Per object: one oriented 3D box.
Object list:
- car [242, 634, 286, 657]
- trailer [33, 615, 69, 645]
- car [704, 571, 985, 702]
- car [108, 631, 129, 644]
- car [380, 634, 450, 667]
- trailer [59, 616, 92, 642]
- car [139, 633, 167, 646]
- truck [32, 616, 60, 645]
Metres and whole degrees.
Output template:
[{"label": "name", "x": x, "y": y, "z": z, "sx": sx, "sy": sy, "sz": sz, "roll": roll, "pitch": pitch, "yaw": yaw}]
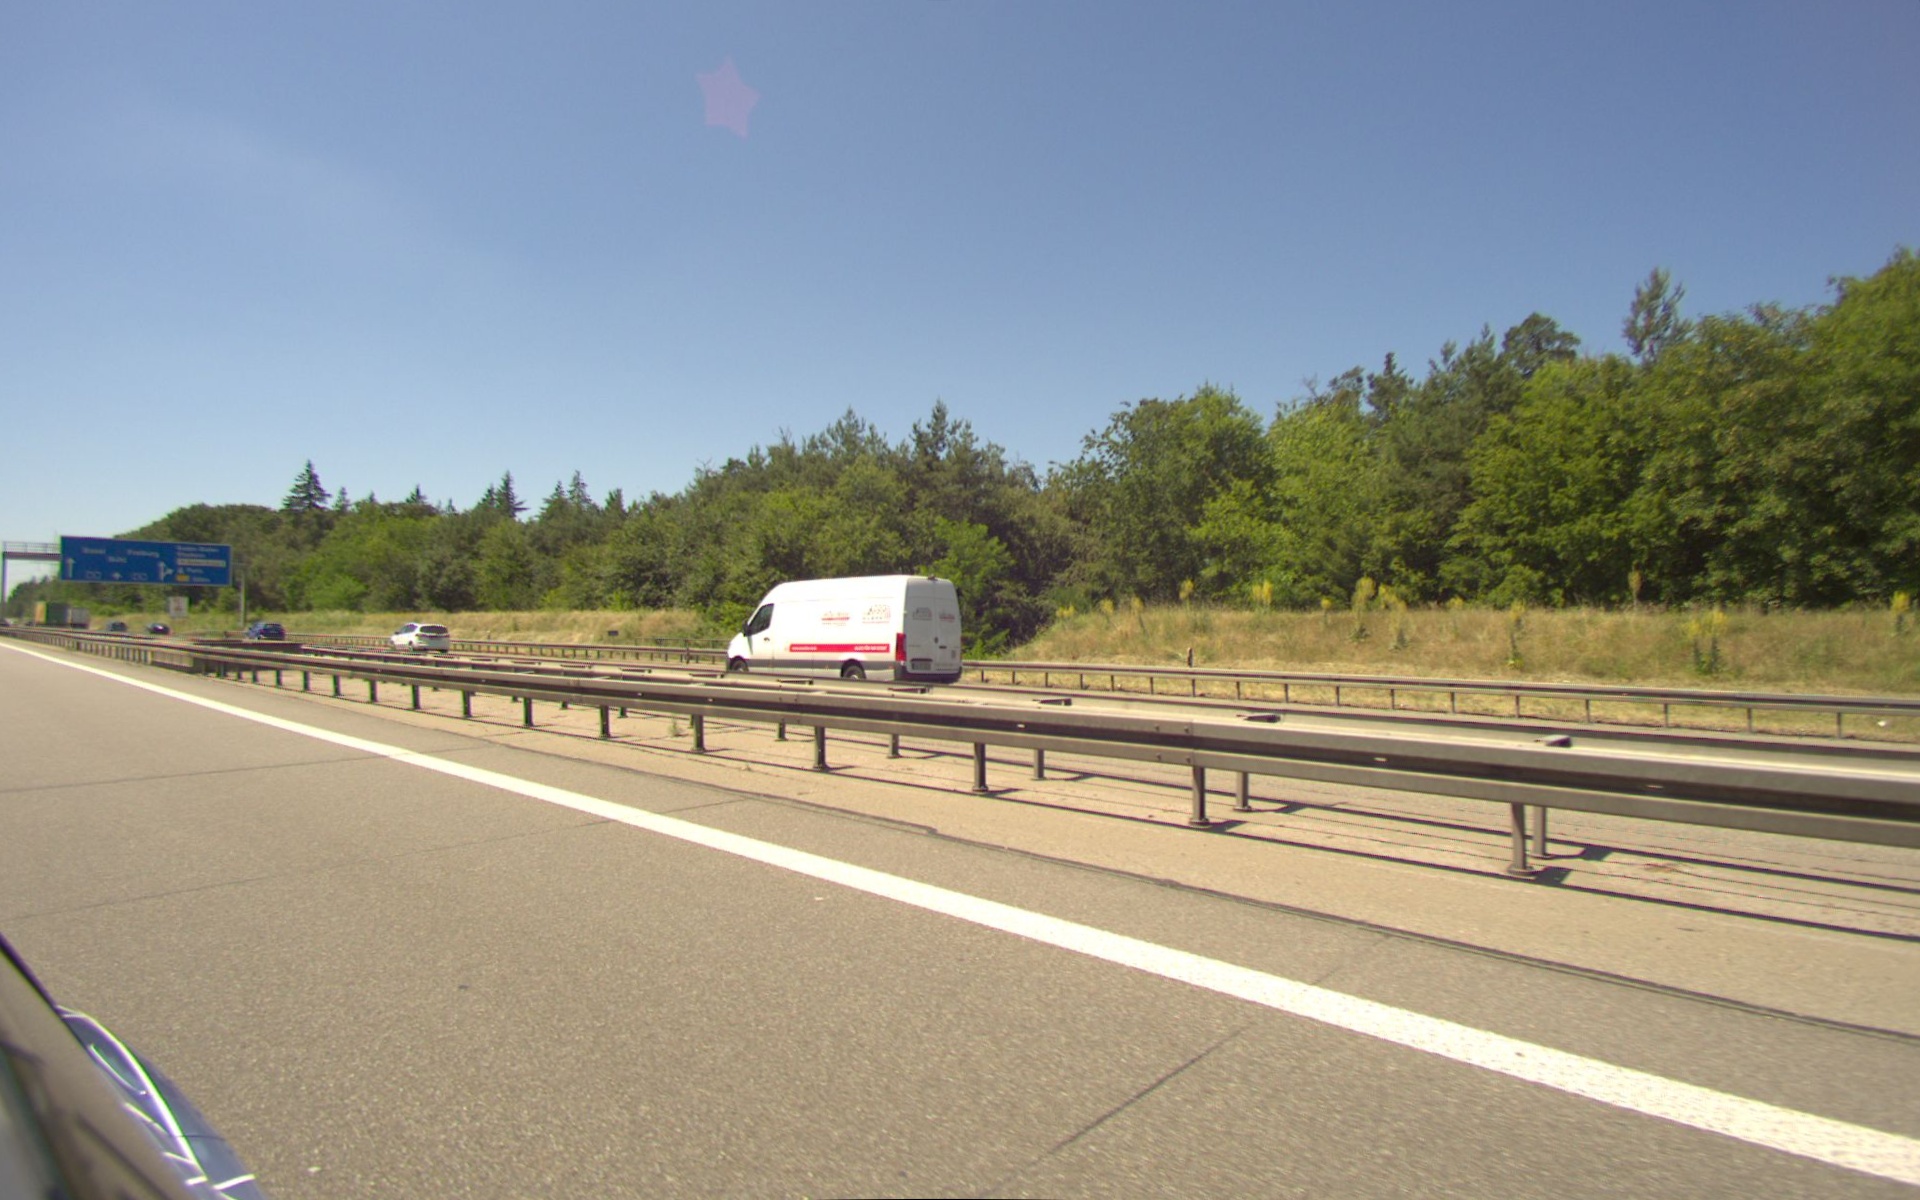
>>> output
[{"label": "car", "x": -52.001, "y": 3.387, "z": 75.566, "sx": 4.535, "sy": 1.557, "sz": 1.683, "roll": -2, "pitch": -5, "yaw": 43}, {"label": "trailer", "x": -131.383, "y": 4.377, "z": 146.253, "sx": 14.280, "sy": 4.104, "sz": 2.436, "roll": -2, "pitch": -5, "yaw": 43}, {"label": "car", "x": -2.951, "y": 0.895, "z": 23.802, "sx": 7.544, "sy": 2.645, "sz": 2.141, "roll": -2, "pitch": -5, "yaw": 43}, {"label": "car", "x": -108.046, "y": 4.785, "z": 129.885, "sx": 4.111, "sy": 1.552, "sz": 1.507, "roll": -2, "pitch": -5, "yaw": 43}, {"label": "car", "x": -29.225, "y": 2.701, "z": 54.224, "sx": 5.117, "sy": 1.674, "sz": 1.683, "roll": -2, "pitch": -5, "yaw": 43}, {"label": "trailer", "x": -142.321, "y": 4.724, "z": 162.777, "sx": 11.158, "sy": 3.979, "sz": 2.596, "roll": -2, "pitch": -5, "yaw": 43}, {"label": "car", "x": -88.017, "y": 4.299, "z": 110.414, "sx": 4.890, "sy": 1.376, "sz": 1.657, "roll": -2, "pitch": -5, "yaw": 43}, {"label": "truck", "x": -136.146, "y": 4.535, "z": 150.717, "sx": 6.287, "sy": 4.104, "sz": 2.436, "roll": -2, "pitch": -5, "yaw": 43}]
